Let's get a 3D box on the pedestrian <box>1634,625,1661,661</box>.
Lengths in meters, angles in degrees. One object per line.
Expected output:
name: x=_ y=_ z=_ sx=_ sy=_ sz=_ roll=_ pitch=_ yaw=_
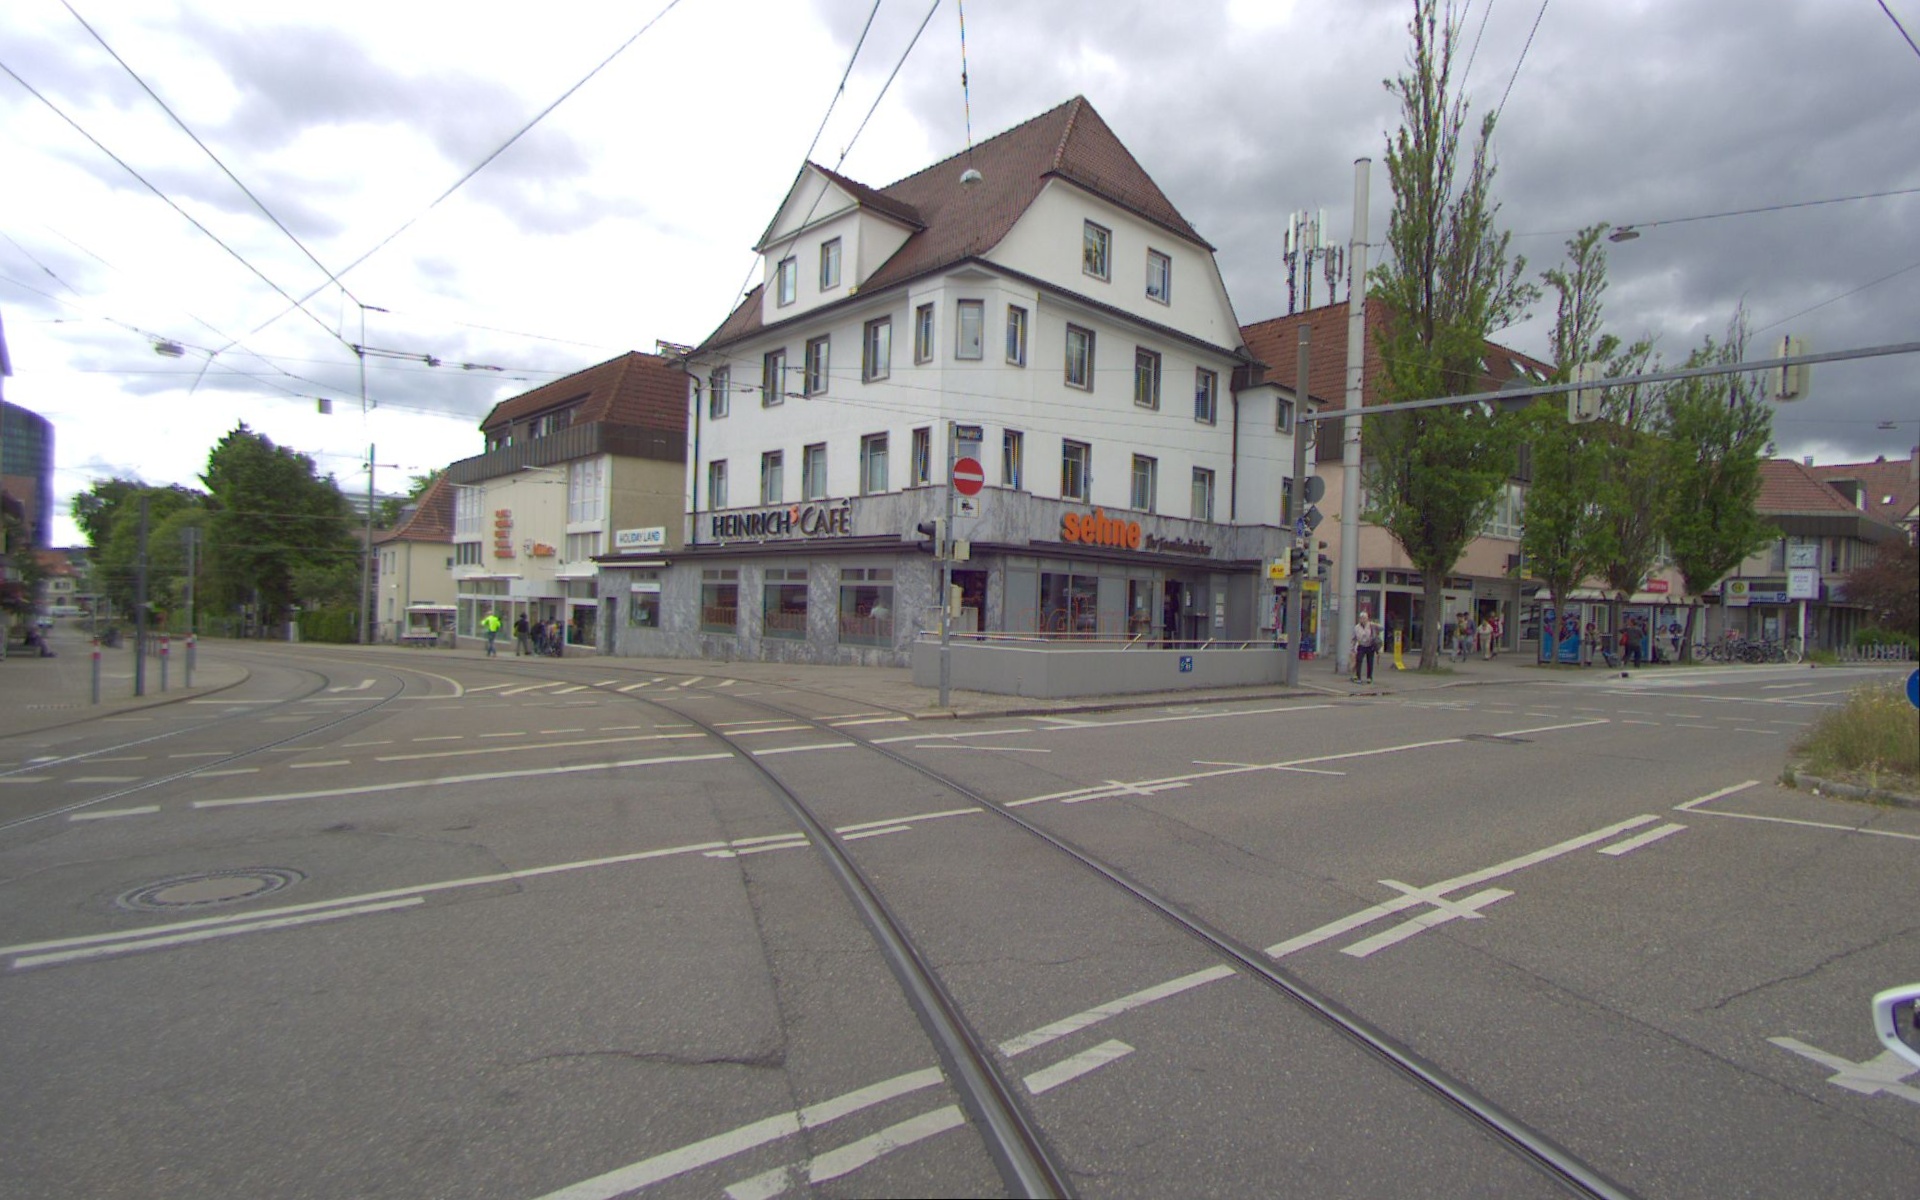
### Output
pedestrian: x=27.388 y=1.703 z=40.026 sx=0.582 sy=1.382 sz=0.707 roll=0 pitch=2 yaw=-35

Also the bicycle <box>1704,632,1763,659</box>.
bicycle: x=34.201 y=2.001 z=44.452 sx=1.996 sy=1.105 sz=0.645 roll=2 pitch=0 yaw=44

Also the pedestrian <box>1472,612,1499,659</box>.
pedestrian: x=19.263 y=1.287 z=36.812 sx=0.610 sy=1.656 sz=0.581 roll=1 pitch=4 yaw=-39

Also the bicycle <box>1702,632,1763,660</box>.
bicycle: x=33.516 y=1.987 z=43.620 sx=0.644 sy=1.105 sz=2.000 roll=1 pitch=0 yaw=-41

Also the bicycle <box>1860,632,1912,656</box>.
bicycle: x=48.317 y=2.280 z=52.426 sx=1.996 sy=1.105 sz=0.645 roll=2 pitch=0 yaw=44

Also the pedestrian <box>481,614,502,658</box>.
pedestrian: x=-18.496 y=1.414 z=39.658 sx=0.584 sy=1.656 sz=0.607 roll=0 pitch=4 yaw=-43

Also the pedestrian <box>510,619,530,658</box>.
pedestrian: x=-18.908 y=1.647 z=43.195 sx=0.610 sy=1.656 sz=0.581 roll=0 pitch=4 yaw=-41

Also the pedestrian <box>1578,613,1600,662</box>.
pedestrian: x=22.477 y=1.328 z=35.883 sx=0.578 sy=1.675 sz=0.711 roll=2 pitch=2 yaw=35

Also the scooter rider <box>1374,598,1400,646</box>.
scooter rider: x=16.201 y=0.828 z=38.134 sx=0.583 sy=1.735 sz=0.608 roll=1 pitch=4 yaw=-40

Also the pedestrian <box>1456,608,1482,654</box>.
pedestrian: x=19.726 y=1.200 z=38.906 sx=0.610 sy=1.735 sz=0.581 roll=1 pitch=4 yaw=-39

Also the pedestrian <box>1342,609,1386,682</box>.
pedestrian: x=9.609 y=1.065 z=23.876 sx=0.692 sy=1.656 sz=0.611 roll=6 pitch=4 yaw=42

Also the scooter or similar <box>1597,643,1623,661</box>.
scooter or similar: x=23.090 y=1.851 z=35.676 sx=0.696 sy=0.609 sz=0.587 roll=1 pitch=0 yaw=-38

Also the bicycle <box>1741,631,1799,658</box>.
bicycle: x=36.773 y=1.994 z=45.622 sx=1.996 sy=1.105 sz=0.645 roll=2 pitch=0 yaw=44

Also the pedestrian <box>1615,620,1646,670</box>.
pedestrian: x=22.849 y=1.518 z=34.229 sx=0.705 sy=1.675 sz=0.584 roll=1 pitch=2 yaw=-27

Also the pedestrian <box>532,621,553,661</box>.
pedestrian: x=-17.950 y=1.776 z=43.188 sx=0.610 sy=1.656 sz=0.581 roll=0 pitch=4 yaw=-41

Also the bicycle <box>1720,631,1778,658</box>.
bicycle: x=35.307 y=1.997 z=44.966 sx=1.996 sy=1.105 sz=0.645 roll=2 pitch=0 yaw=44

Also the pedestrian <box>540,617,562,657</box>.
pedestrian: x=-17.394 y=1.562 z=42.728 sx=0.578 sy=1.656 sz=0.613 roll=5 pitch=3 yaw=32

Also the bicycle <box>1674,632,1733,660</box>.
bicycle: x=32.320 y=1.990 z=43.697 sx=1.993 sy=1.105 sz=0.646 roll=3 pitch=1 yaw=40

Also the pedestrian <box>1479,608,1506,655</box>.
pedestrian: x=20.327 y=1.212 z=38.342 sx=0.610 sy=1.735 sz=0.581 roll=1 pitch=4 yaw=-39

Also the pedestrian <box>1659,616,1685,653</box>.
pedestrian: x=34.976 y=1.690 z=49.346 sx=0.749 sy=1.788 sz=0.720 roll=1 pitch=4 yaw=-39

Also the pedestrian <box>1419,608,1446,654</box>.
pedestrian: x=17.451 y=1.140 z=37.079 sx=0.610 sy=1.656 sz=0.581 roll=1 pitch=4 yaw=-39

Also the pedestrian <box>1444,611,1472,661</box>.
pedestrian: x=17.167 y=1.243 z=34.632 sx=0.610 sy=1.656 sz=0.581 roll=1 pitch=4 yaw=-39

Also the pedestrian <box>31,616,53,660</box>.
pedestrian: x=-35.780 y=1.480 z=39.156 sx=0.610 sy=1.656 sz=0.686 roll=0 pitch=4 yaw=-43

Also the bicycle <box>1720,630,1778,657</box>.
bicycle: x=35.747 y=1.978 z=45.532 sx=1.996 sy=1.105 sz=0.645 roll=2 pitch=0 yaw=44
